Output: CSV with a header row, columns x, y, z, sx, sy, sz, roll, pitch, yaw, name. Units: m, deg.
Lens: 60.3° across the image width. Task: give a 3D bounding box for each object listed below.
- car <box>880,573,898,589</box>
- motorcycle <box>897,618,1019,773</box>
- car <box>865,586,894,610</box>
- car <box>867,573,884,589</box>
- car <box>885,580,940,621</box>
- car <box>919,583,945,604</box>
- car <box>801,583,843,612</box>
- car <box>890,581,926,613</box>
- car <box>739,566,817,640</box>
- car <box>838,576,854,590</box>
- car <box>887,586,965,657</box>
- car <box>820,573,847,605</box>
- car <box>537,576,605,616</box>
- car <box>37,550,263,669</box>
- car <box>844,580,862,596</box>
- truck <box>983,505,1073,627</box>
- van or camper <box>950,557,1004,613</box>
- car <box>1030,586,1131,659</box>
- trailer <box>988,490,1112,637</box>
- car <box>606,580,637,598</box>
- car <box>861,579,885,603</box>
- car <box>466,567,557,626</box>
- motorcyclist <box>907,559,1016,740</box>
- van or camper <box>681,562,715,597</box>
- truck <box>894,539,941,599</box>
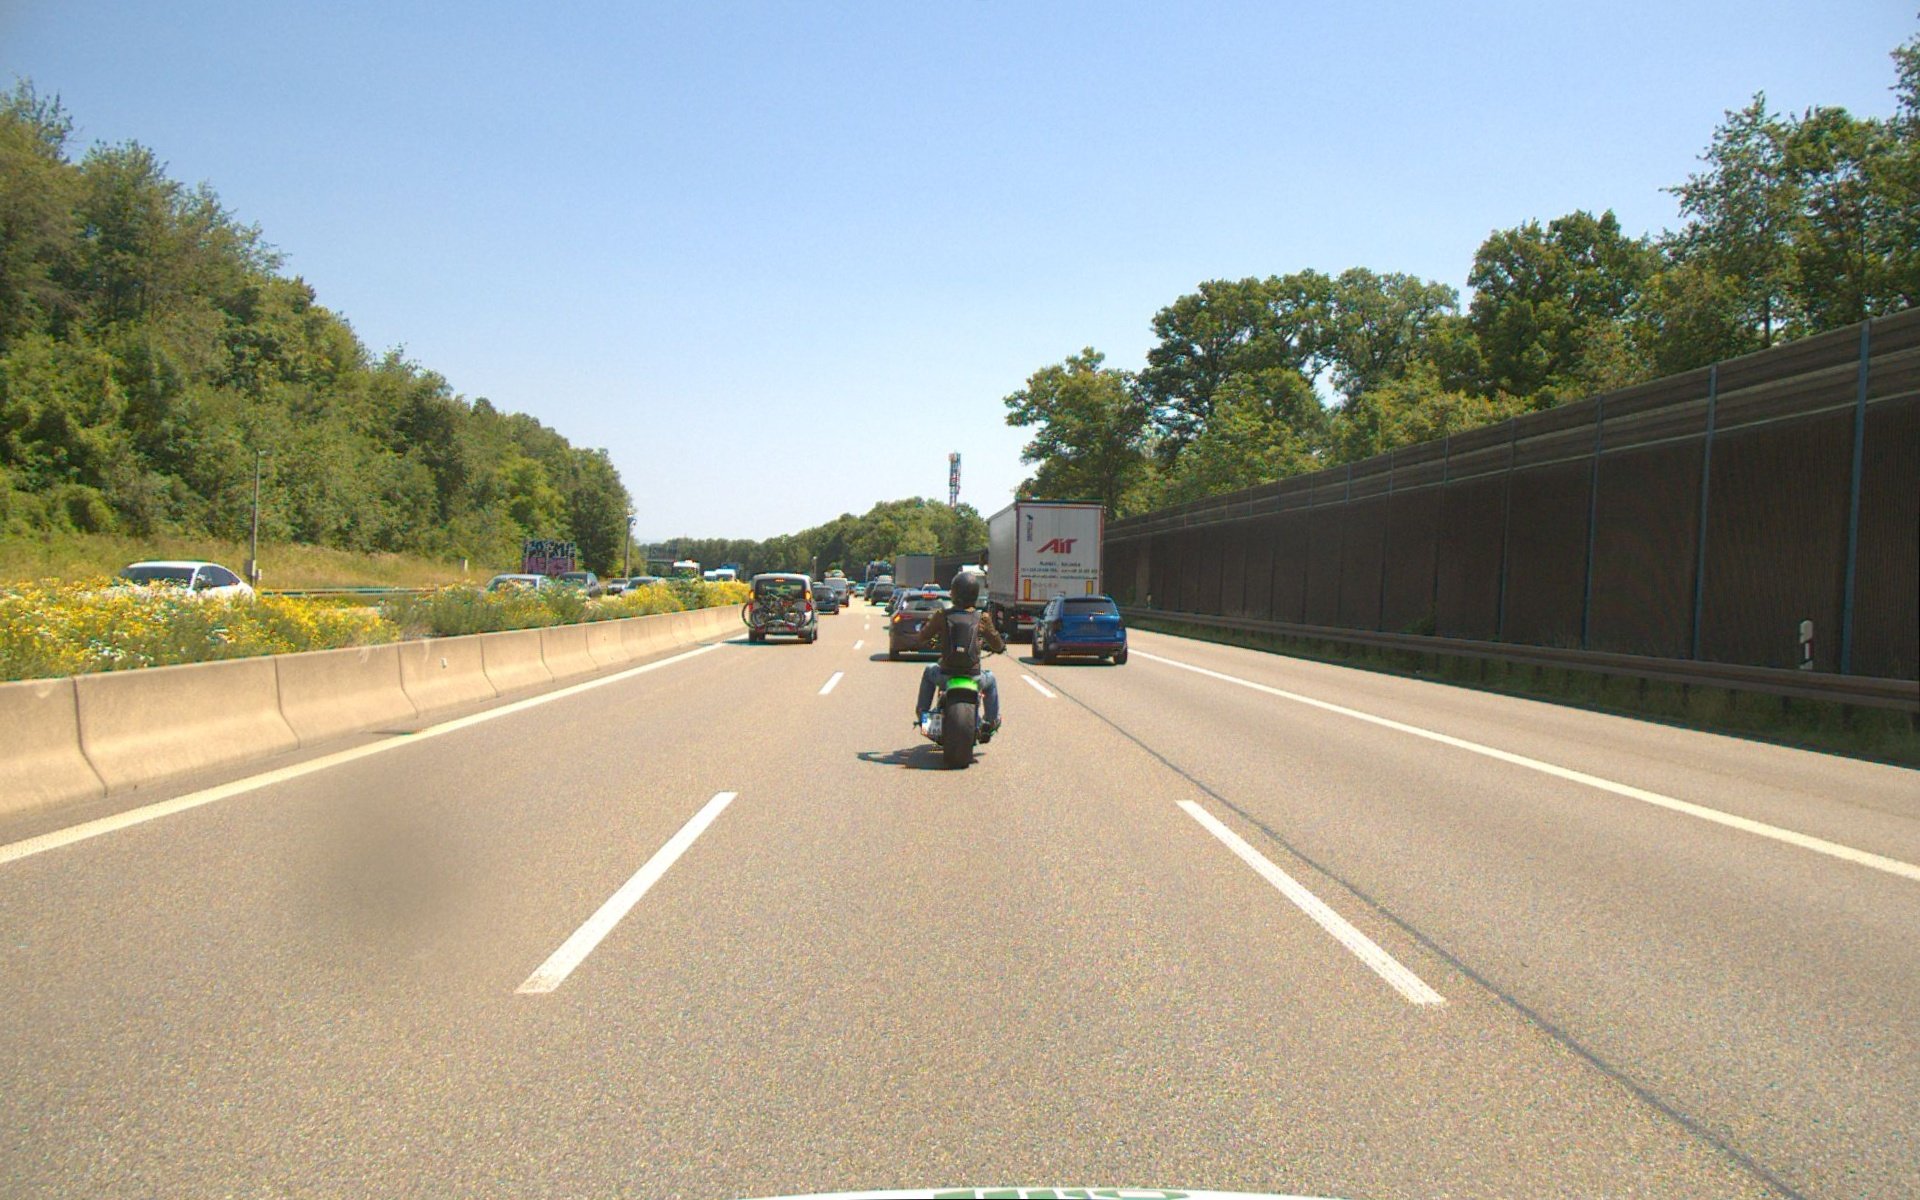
x,y,z,sx,sy,sz,roll,pitch,yaw,name
-8.501,-2.267,198.524,2.066,1.909,3.996,0,0,-4,car
0.036,0.788,14.748,0.944,1.168,2.813,1,1,2,motorcycle
-5.708,-0.146,116.700,1.954,1.669,3.997,0,0,-3,car
-10.437,-2.335,204.019,2.066,1.909,3.996,0,0,-4,car
-1.773,0.035,61.094,1.954,1.455,3.845,0,0,-3,car
-2.279,-0.525,132.723,1.954,1.601,3.997,0,0,-3,car
-7.079,-0.104,85.143,1.954,1.411,3.998,0,0,-3,car
-2.590,-0.158,83.226,1.743,1.579,3.584,1,0,-2,car
-4.913,0.089,45.141,1.861,1.906,4.409,0,0,-3,car
-13.668,-2.053,198.396,1.795,1.522,3.741,0,0,-3,car
-0.794,0.475,36.647,1.629,1.478,3.867,0,0,-2,car
-8.319,-0.678,108.537,1.756,2.049,3.638,0,-1,-5,car
-16.224,-0.160,69.158,1.953,1.618,4.161,0,0,-2,car
-15.086,0.184,31.130,1.952,2.049,4.567,0,0,1,car
-10.991,-1.205,170.076,1.796,1.522,3.740,0,0,-4,car
2.407,-1.216,60.421,2.827,4.218,5.984,1,1,-2,truck
0.861,-0.744,89.396,2.631,2.862,6.800,0,0,-2,van or camper
2.574,0.479,36.326,1.618,1.508,4.478,0,0,-4,car
2.652,-1.098,53.572,2.827,4.109,13.791,1,1,-2,trailer
-28.354,-0.967,138.767,1.954,1.457,4.189,0,1,-4,car
-7.568,-0.738,143.696,1.874,2.049,3.686,1,-1,-6,car
-11.633,-0.076,43.081,1.447,1.467,3.563,0,0,-1,car
0.045,0.420,14.727,0.881,1.501,1.872,0,-1,3,motorcyclist
-26.822,-2.094,169.705,2.489,3.375,8.997,0,0,-3,van or camper
-3.884,-2.703,148.730,3.729,5.046,8.941,0,-1,-5,truck
